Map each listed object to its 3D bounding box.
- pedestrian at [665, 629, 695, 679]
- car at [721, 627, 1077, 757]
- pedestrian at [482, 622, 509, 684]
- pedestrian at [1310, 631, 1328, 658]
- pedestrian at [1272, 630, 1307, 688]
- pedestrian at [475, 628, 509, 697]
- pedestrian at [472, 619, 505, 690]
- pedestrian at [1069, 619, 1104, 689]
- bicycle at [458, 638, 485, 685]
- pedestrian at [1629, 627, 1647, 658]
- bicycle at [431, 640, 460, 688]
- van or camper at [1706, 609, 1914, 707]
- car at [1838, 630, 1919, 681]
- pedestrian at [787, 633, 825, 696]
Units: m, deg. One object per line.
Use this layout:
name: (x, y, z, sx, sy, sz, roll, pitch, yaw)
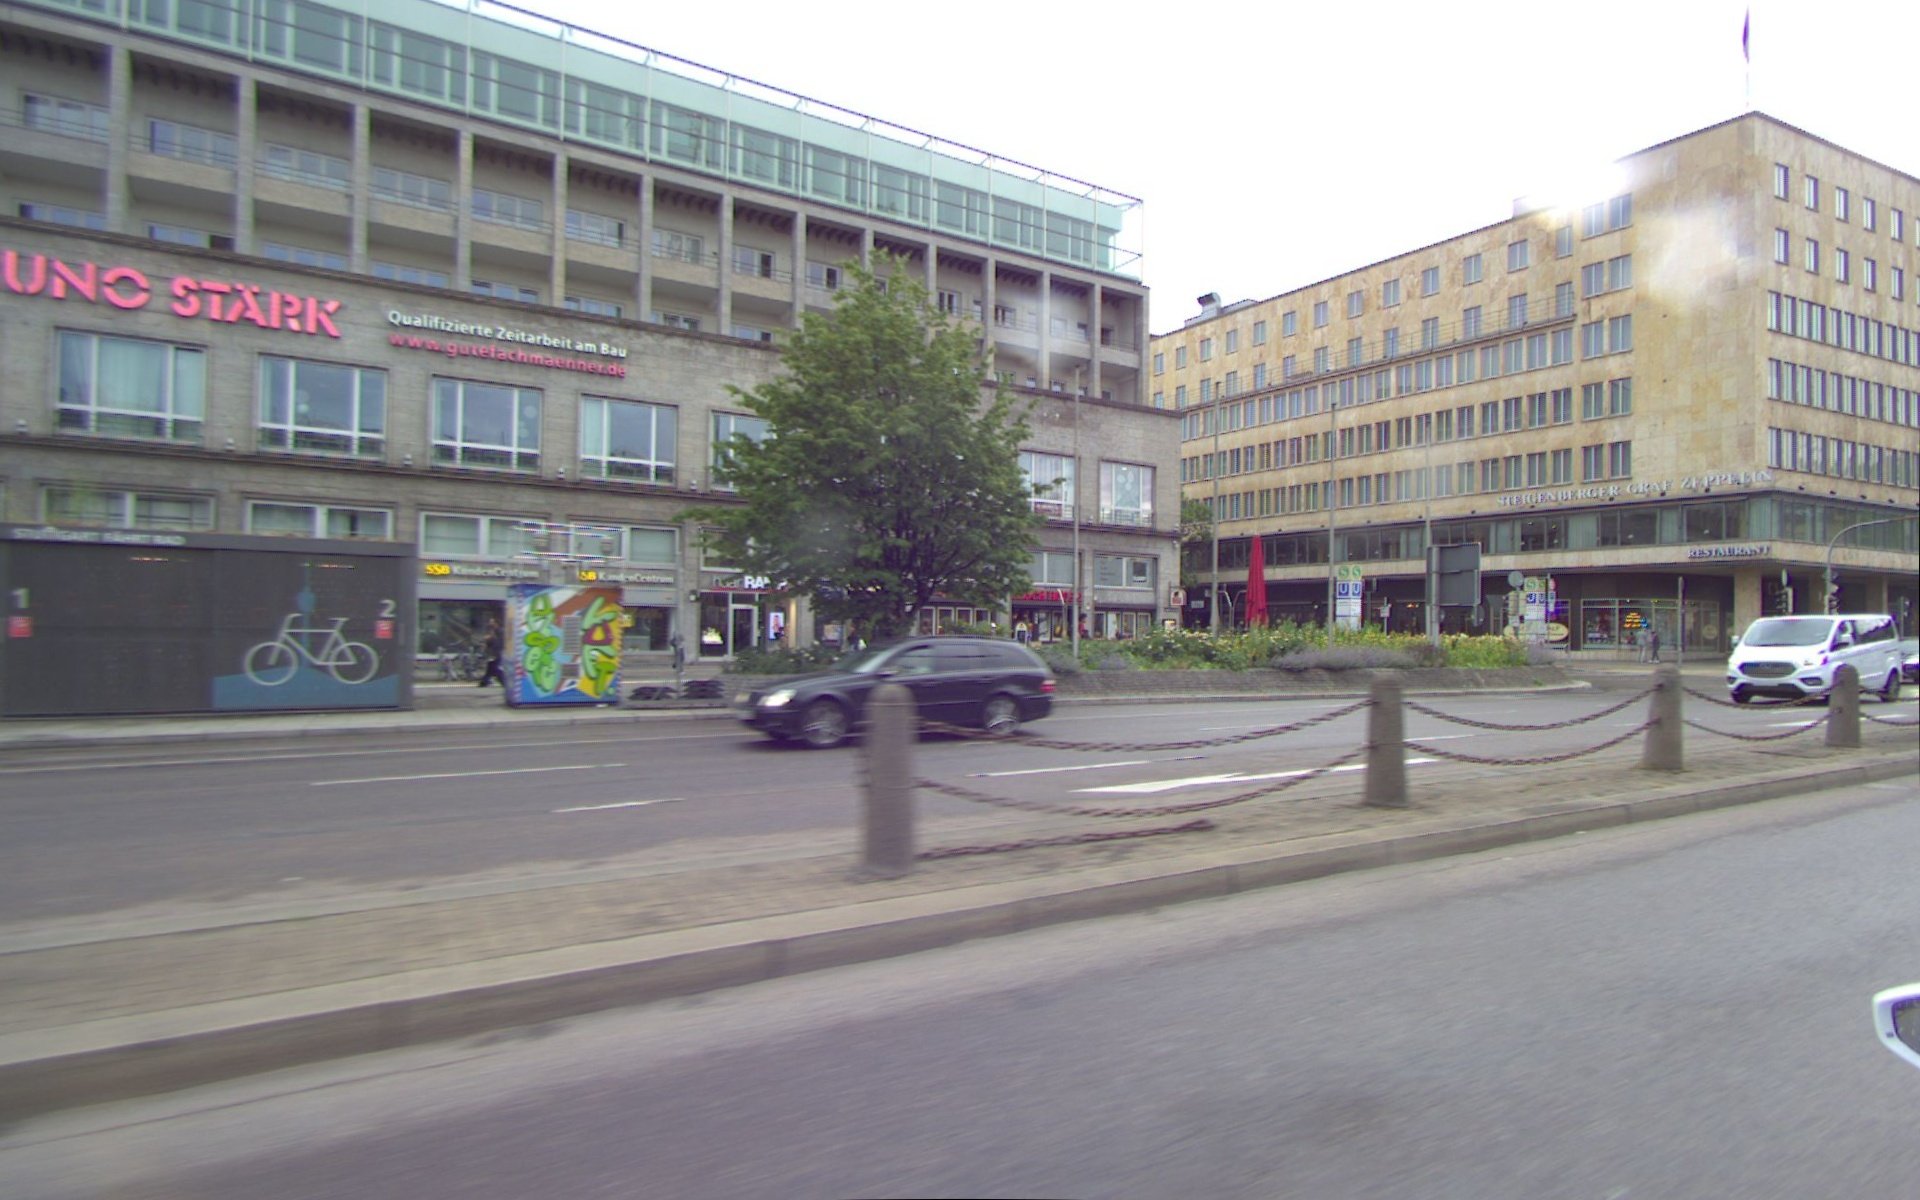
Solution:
pedestrian: (-9.291, 1.777, 33.327, 0.717, 1.617, 0.665, -1, -2, 39)
car: (-0.815, 1.248, 14.826, 4.922, 1.638, 1.983, 2, -2, -32)
pedestrian: (-14.219, 1.609, 30.775, 0.600, 1.879, 0.674, 1, -2, -38)
pedestrian: (22.529, 2.798, 63.070, 0.825, 1.694, 0.698, 1, -2, -28)
pedestrian: (10.033, 1.783, 30.599, 0.782, 1.757, 0.665, 1, -2, -24)
pedestrian: (-12.325, 1.626, 26.431, 0.720, 1.775, 0.662, 1, -2, -32)
pedestrian: (-12.669, 1.445, 27.009, 0.720, 1.877, 0.662, 1, -2, -32)
pedestrian: (3.736, 1.578, 29.657, 0.783, 2.040, 0.664, 1, -2, -29)
bicycle: (-14.208, 1.769, 29.240, 0.654, 1.310, 2.359, 1, -2, -25)
pedestrian: (36.568, 2.285, 54.157, 0.687, 1.665, 0.647, -1, -2, 42)
bicycle: (-14.806, 1.819, 28.958, 0.654, 1.310, 2.359, 1, -2, -25)
van or camper: (19.668, 1.299, 23.200, 5.125, 2.040, 1.985, 1, -2, -29)
car: (32.417, 1.873, 34.421, 4.517, 1.638, 1.986, 1, -2, -27)
pedestrian: (-5.102, 2.118, 33.309, 1.061, 2.040, 0.771, 0, -2, 8)
